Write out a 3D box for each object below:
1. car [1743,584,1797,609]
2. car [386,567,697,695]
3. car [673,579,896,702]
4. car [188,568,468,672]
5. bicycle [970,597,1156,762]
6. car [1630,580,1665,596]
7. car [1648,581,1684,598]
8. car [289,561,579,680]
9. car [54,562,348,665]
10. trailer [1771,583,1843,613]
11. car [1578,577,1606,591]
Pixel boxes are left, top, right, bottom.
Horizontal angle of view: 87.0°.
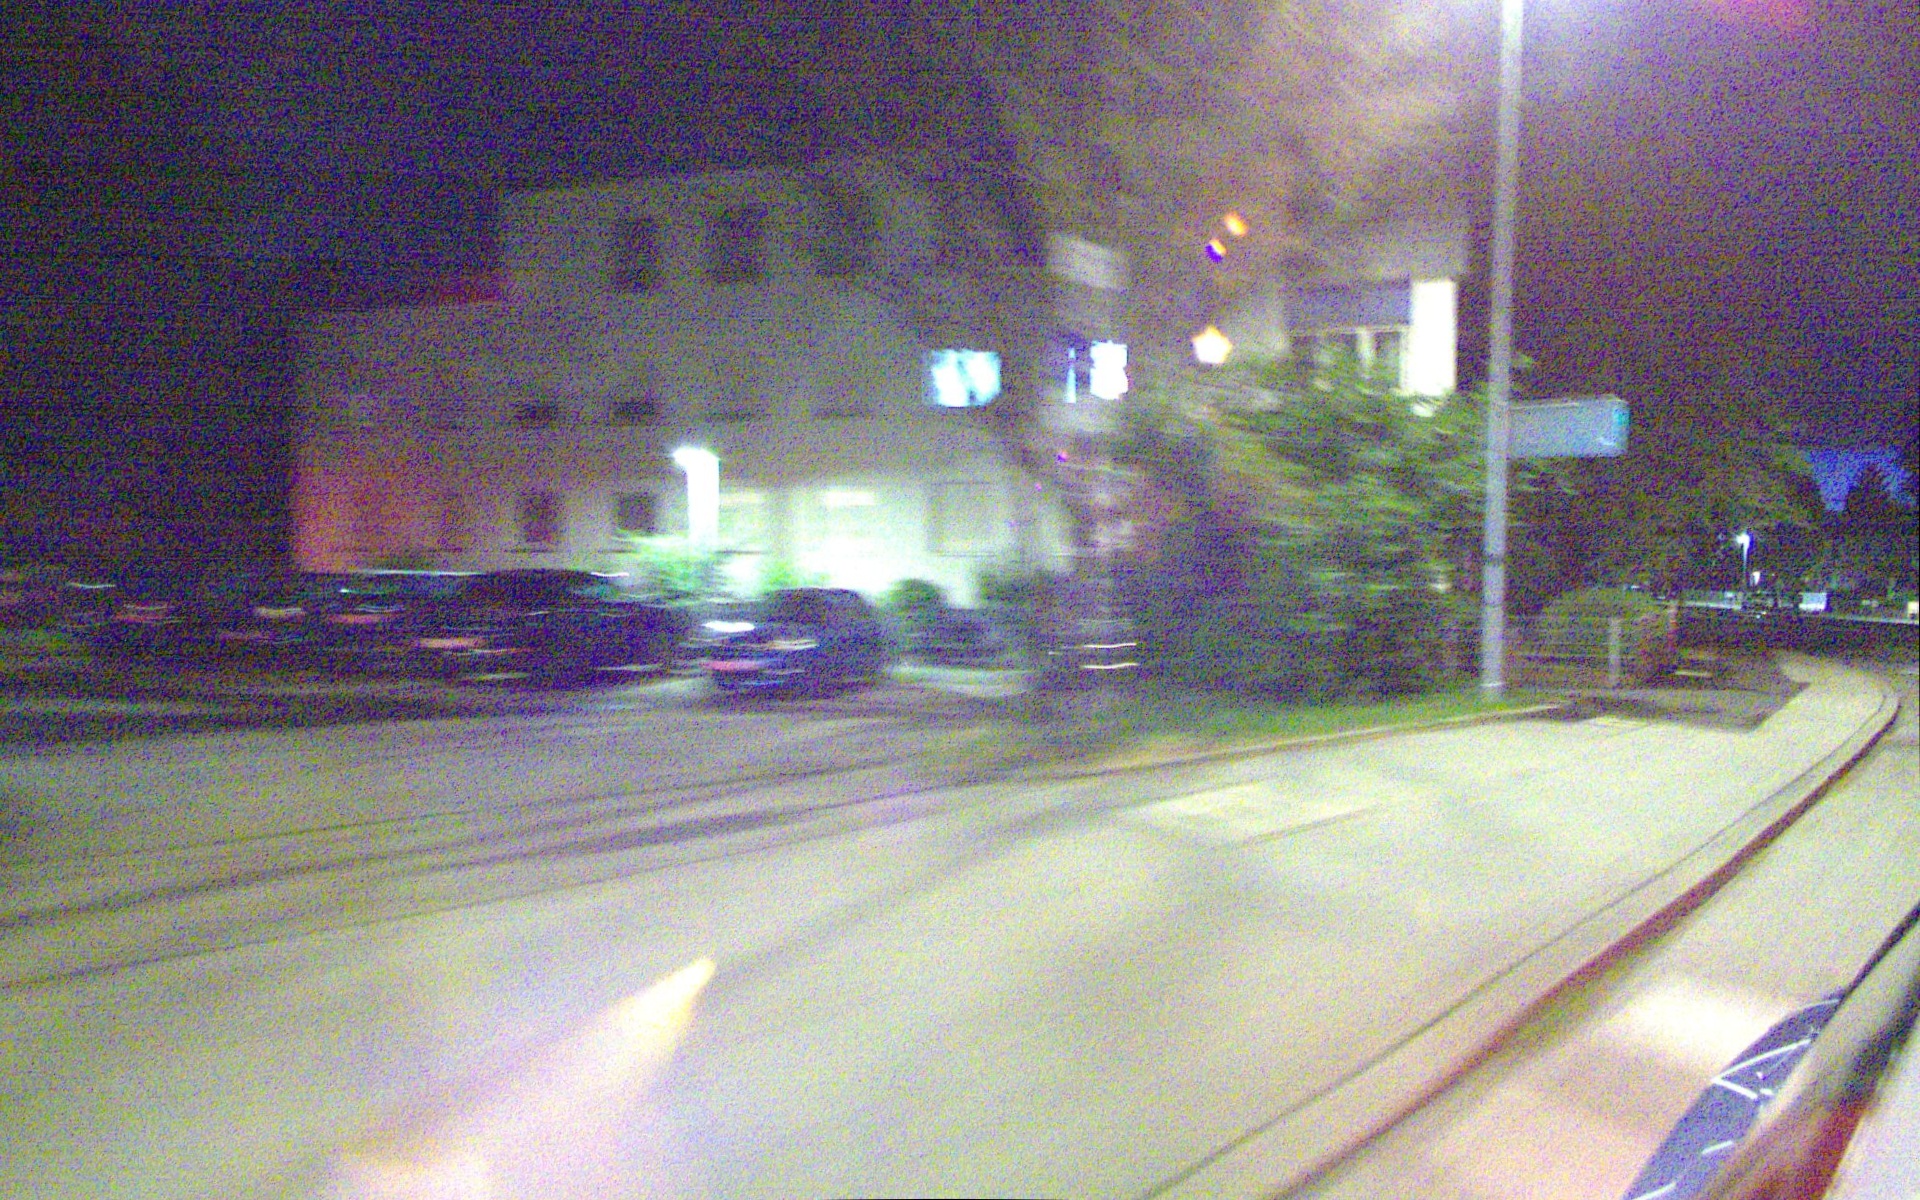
[{"bbox_3d":[61.909,-0.289,77.433,1.701,1.595,4.507,4,4,20],"label":"car"},{"bbox_3d":[-5.945,0.360,15.036,1.898,1.584,4.386,1,1,18],"label":"car"},{"bbox_3d":[-2.378,0.485,14.586,1.686,1.524,3.571,1,1,19],"label":"car"},{"bbox_3d":[-10.577,0.268,17.271,1.739,1.534,3.848,1,1,18],"label":"car"},{"bbox_3d":[0.821,0.524,7.510,0.295,0.994,1.916,2,4,42],"label":"bicycle"},{"bbox_3d":[72.521,-1.303,106.855,1.884,1.381,4.951,4,4,21],"label":"car"},{"bbox_3d":[70.436,-1.077,101.015,1.712,1.381,4.122,4,4,19],"label":"car"},{"bbox_3d":[-8.207,0.257,16.253,1.789,1.636,4.075,1,1,18],"label":"car"},{"bbox_3d":[-13.141,0.184,17.824,1.739,1.563,3.848,2,1,18],"label":"car"},{"bbox_3d":[60.547,-0.196,72.448,2.006,1.802,5.638,3,3,20],"label":"trailer"},{"bbox_3d":[78.315,-1.985,125.471,1.748,1.586,4.666,5,4,19],"label":"car"}]
